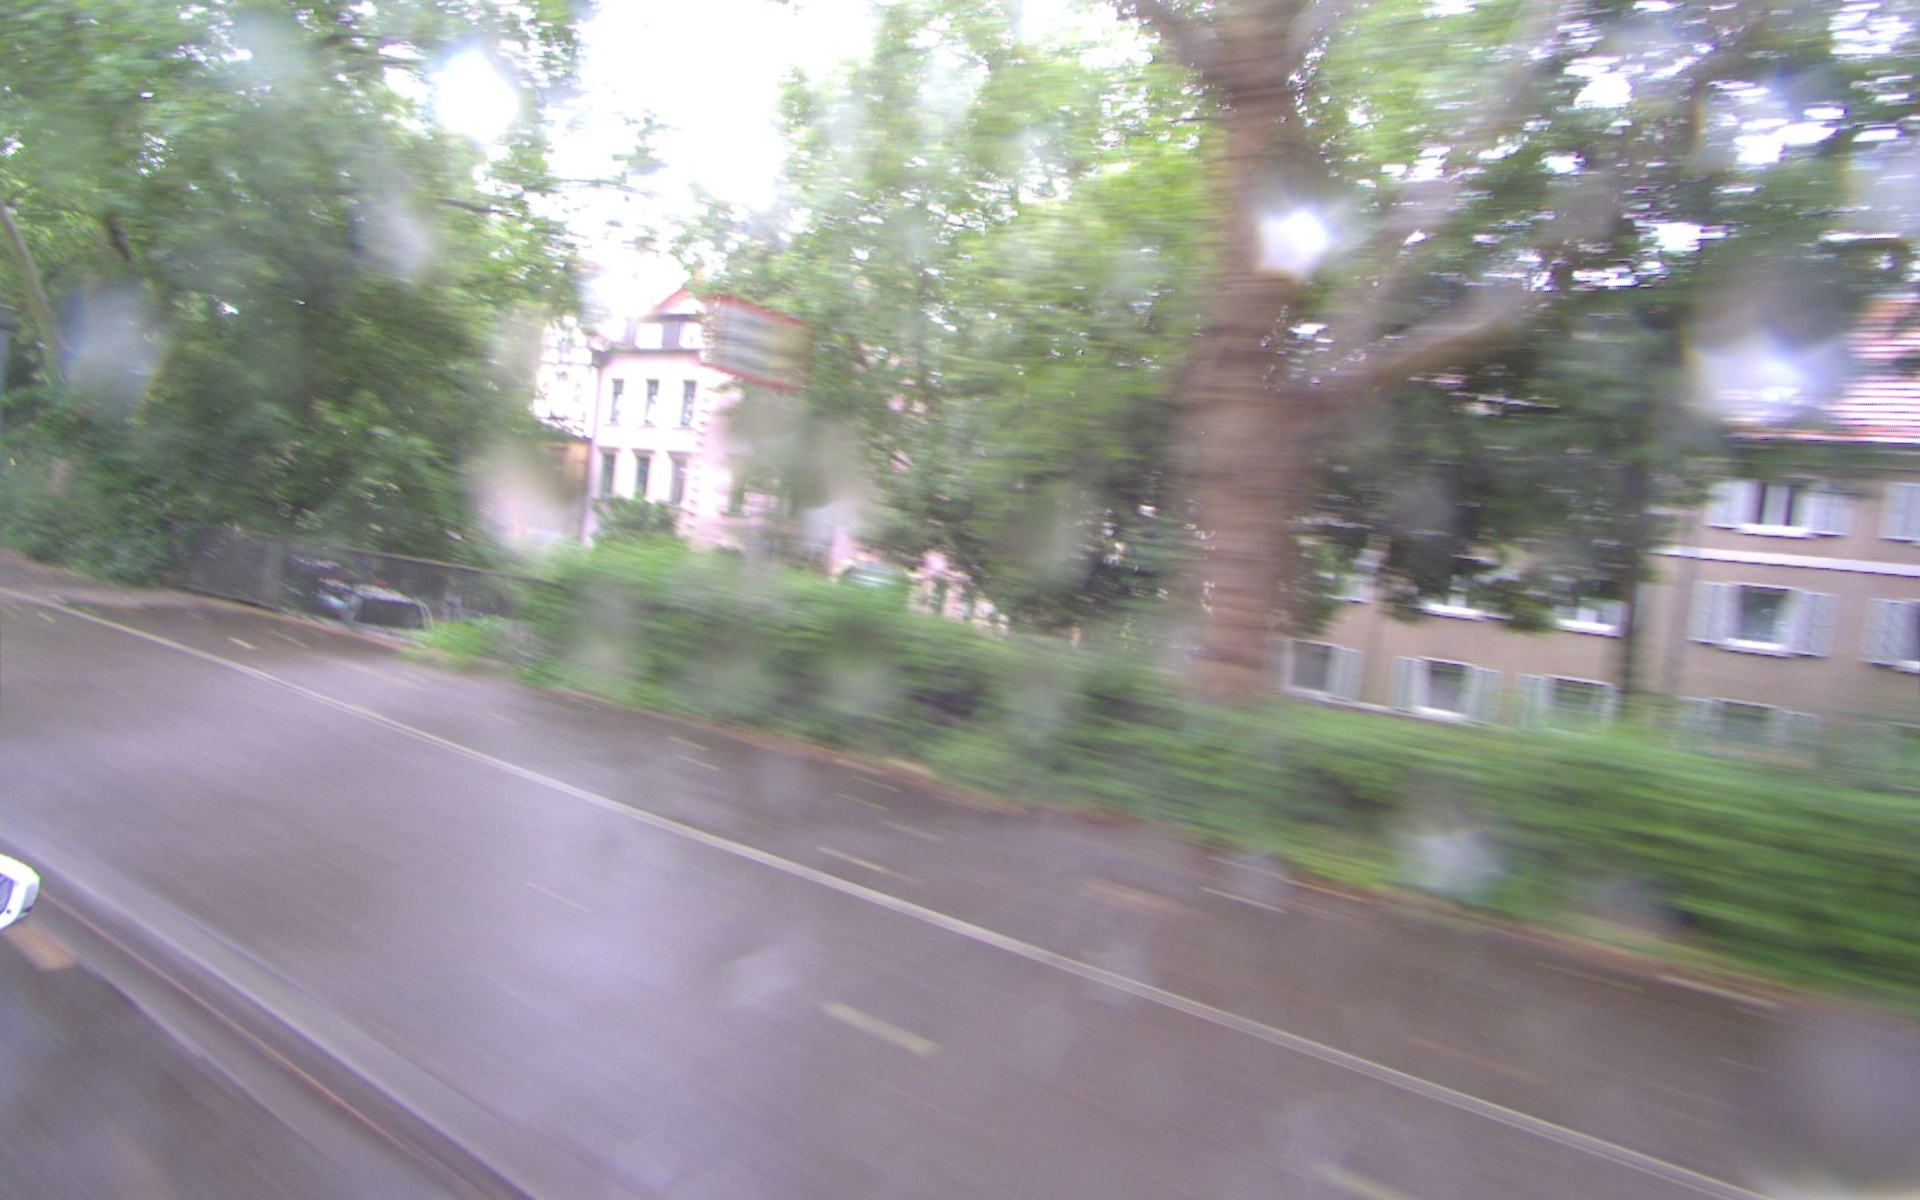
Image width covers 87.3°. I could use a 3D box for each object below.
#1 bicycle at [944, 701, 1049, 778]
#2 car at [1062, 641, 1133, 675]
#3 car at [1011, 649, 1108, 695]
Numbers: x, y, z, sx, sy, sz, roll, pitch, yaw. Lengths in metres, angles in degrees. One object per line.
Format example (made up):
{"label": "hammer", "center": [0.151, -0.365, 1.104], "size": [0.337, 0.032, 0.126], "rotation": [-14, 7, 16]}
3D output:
{"label": "bicycle", "center": [0.771, 2.946, 21.424], "size": [1.993, 1.188, 0.644], "rotation": [10, 3, 24]}
{"label": "car", "center": [7.400, 3.135, 53.926], "size": [1.897, 1.488, 3.893], "rotation": [7, 0, 39]}
{"label": "car", "center": [3.981, 2.870, 39.677], "size": [1.897, 1.488, 3.893], "rotation": [7, 0, 39]}
